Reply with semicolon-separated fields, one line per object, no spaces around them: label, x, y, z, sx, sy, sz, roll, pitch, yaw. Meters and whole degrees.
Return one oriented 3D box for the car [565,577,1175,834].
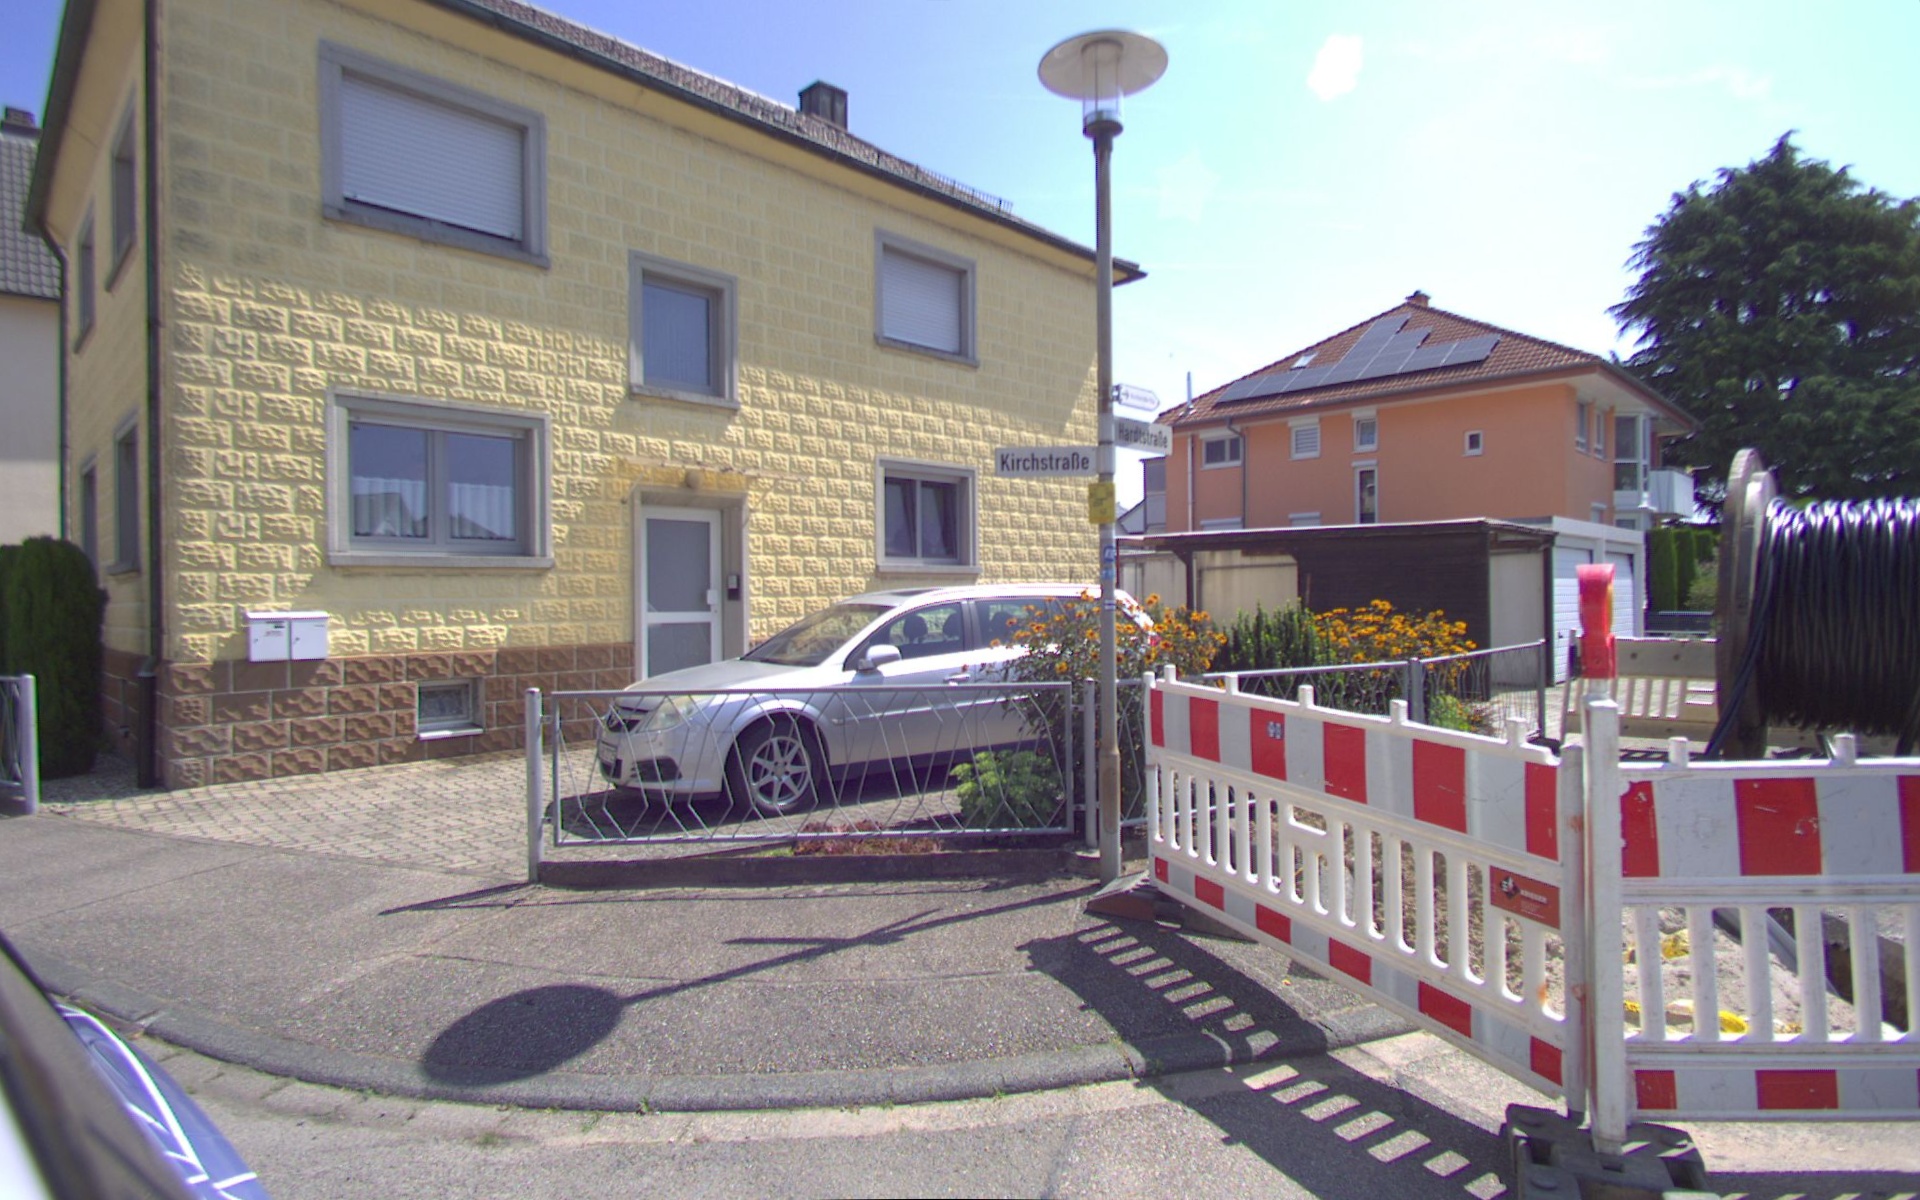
car;-0.560;0.599;7.873;4.398;1.496;1.797;-1;0;-34

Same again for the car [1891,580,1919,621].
car;42.599;0.006;44.867;1.813;1.776;4.149;-1;0;41

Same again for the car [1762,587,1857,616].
car;51.322;0.108;61.218;1.786;1.665;4.211;-1;0;-43
